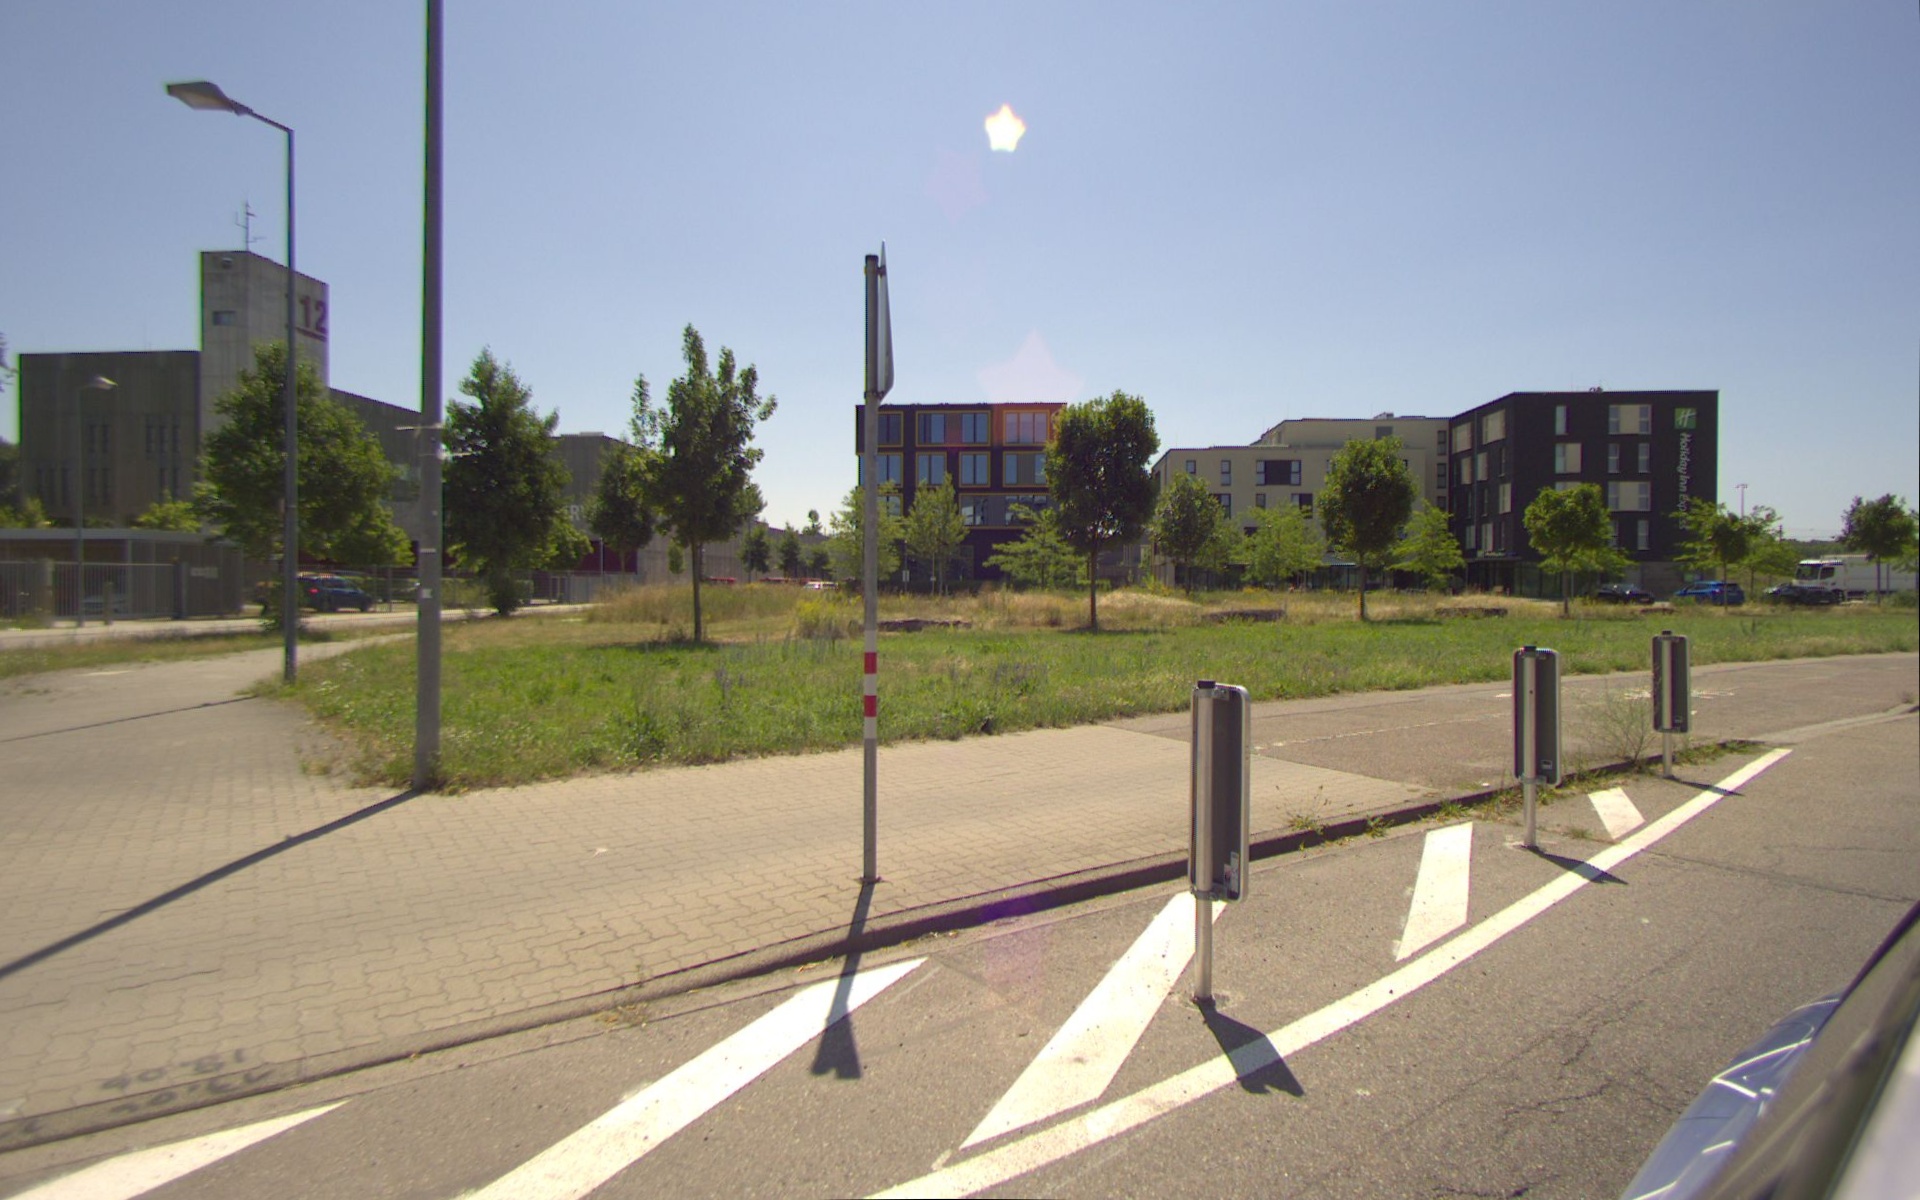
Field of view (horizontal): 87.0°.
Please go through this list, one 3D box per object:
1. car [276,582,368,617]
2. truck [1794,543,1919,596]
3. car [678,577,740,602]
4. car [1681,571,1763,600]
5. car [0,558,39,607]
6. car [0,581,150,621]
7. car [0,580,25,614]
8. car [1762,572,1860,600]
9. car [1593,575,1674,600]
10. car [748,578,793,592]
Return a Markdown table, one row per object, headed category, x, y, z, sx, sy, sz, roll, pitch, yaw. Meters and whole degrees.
| category | x | y | z | sx | sy | sz | roll | pitch | yaw |
| --- | --- | --- | --- | --- | --- | --- | --- | --- | --- |
| car | -29.522 | -0.056 | 46.968 | 1.625 | 1.509 | 3.998 | 0 | 1 | 3 |
| truck | 64.033 | -2.073 | 68.460 | 11.929 | 3.503 | 3.015 | 0 | 3 | 7 |
| car | -22.696 | -0.953 | 91.619 | 5.071 | 2.142 | 2.233 | -1 | 1 | 6 |
| car | 44.748 | -0.861 | 59.543 | 1.919 | 1.672 | 4.068 | 0 | 1 | 4 |
| car | -46.884 | -0.847 | 48.540 | 1.711 | 2.323 | 3.850 | 0 | 1 | 5 |
| car | -35.862 | -0.019 | 40.892 | 1.967 | 1.454 | 4.906 | 0 | 1 | 9 |
| car | -42.082 | -0.071 | 41.874 | 1.964 | 1.454 | 5.076 | 0 | 1 | 4 |
| car | 49.152 | -0.843 | 58.595 | 1.995 | 1.581 | 4.505 | 0 | 1 | 3 |
| car | 39.871 | -0.776 | 60.025 | 1.924 | 1.462 | 4.128 | 0 | 1 | -1 |
| car | -20.535 | -1.623 | 109.737 | 4.442 | 1.529 | 1.802 | 0 | 1 | 3 |
